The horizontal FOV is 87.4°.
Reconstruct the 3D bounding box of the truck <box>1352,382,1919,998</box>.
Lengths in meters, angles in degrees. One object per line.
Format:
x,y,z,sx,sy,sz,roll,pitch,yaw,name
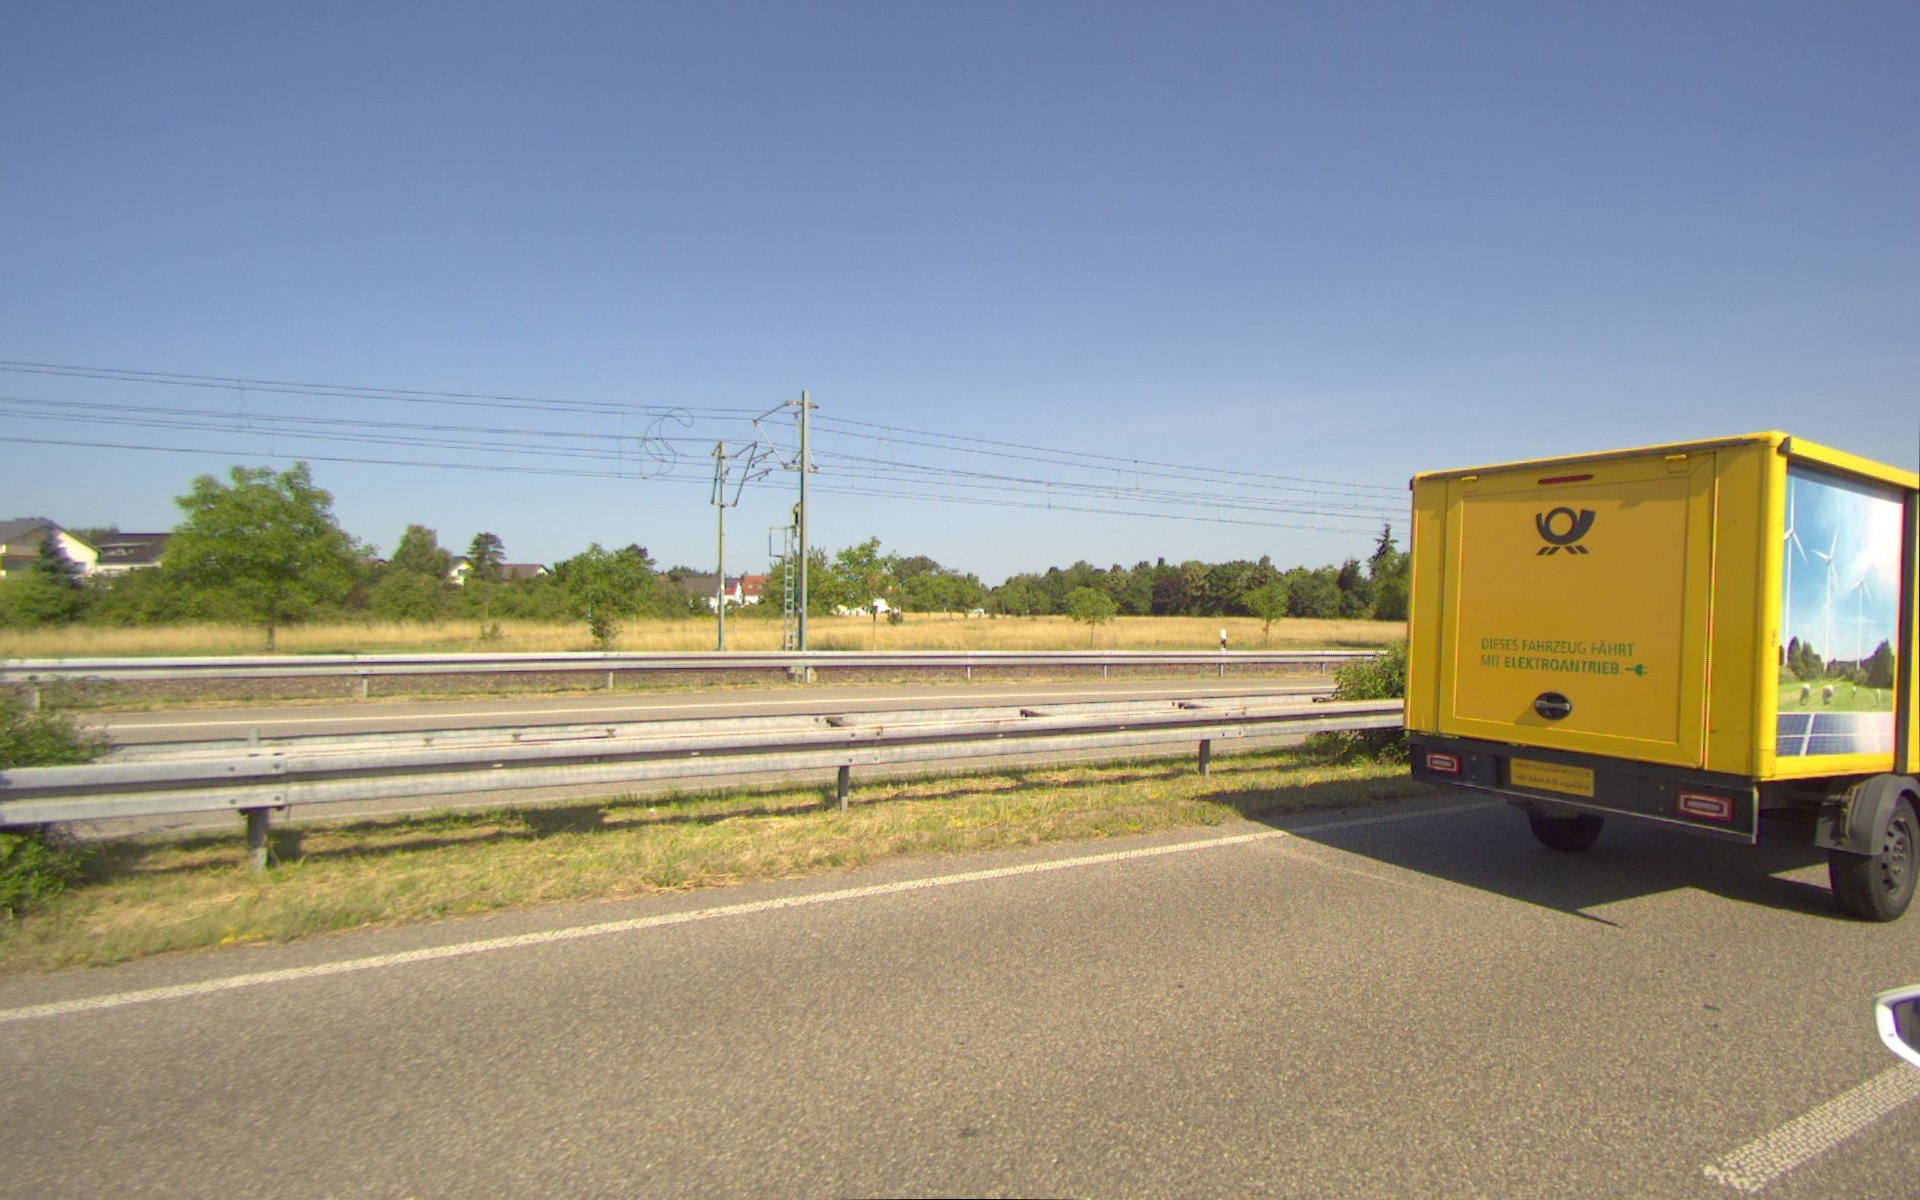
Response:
5.327,0.426,6.493,5.849,2.490,2.101,1,-1,-31,truck

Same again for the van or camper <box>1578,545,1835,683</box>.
22.637,0.448,30.324,8.535,3.729,2.865,1,-1,-28,van or camper

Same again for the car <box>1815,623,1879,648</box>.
77.670,3.101,88.010,3.934,2.040,1.994,0,-1,35,car
